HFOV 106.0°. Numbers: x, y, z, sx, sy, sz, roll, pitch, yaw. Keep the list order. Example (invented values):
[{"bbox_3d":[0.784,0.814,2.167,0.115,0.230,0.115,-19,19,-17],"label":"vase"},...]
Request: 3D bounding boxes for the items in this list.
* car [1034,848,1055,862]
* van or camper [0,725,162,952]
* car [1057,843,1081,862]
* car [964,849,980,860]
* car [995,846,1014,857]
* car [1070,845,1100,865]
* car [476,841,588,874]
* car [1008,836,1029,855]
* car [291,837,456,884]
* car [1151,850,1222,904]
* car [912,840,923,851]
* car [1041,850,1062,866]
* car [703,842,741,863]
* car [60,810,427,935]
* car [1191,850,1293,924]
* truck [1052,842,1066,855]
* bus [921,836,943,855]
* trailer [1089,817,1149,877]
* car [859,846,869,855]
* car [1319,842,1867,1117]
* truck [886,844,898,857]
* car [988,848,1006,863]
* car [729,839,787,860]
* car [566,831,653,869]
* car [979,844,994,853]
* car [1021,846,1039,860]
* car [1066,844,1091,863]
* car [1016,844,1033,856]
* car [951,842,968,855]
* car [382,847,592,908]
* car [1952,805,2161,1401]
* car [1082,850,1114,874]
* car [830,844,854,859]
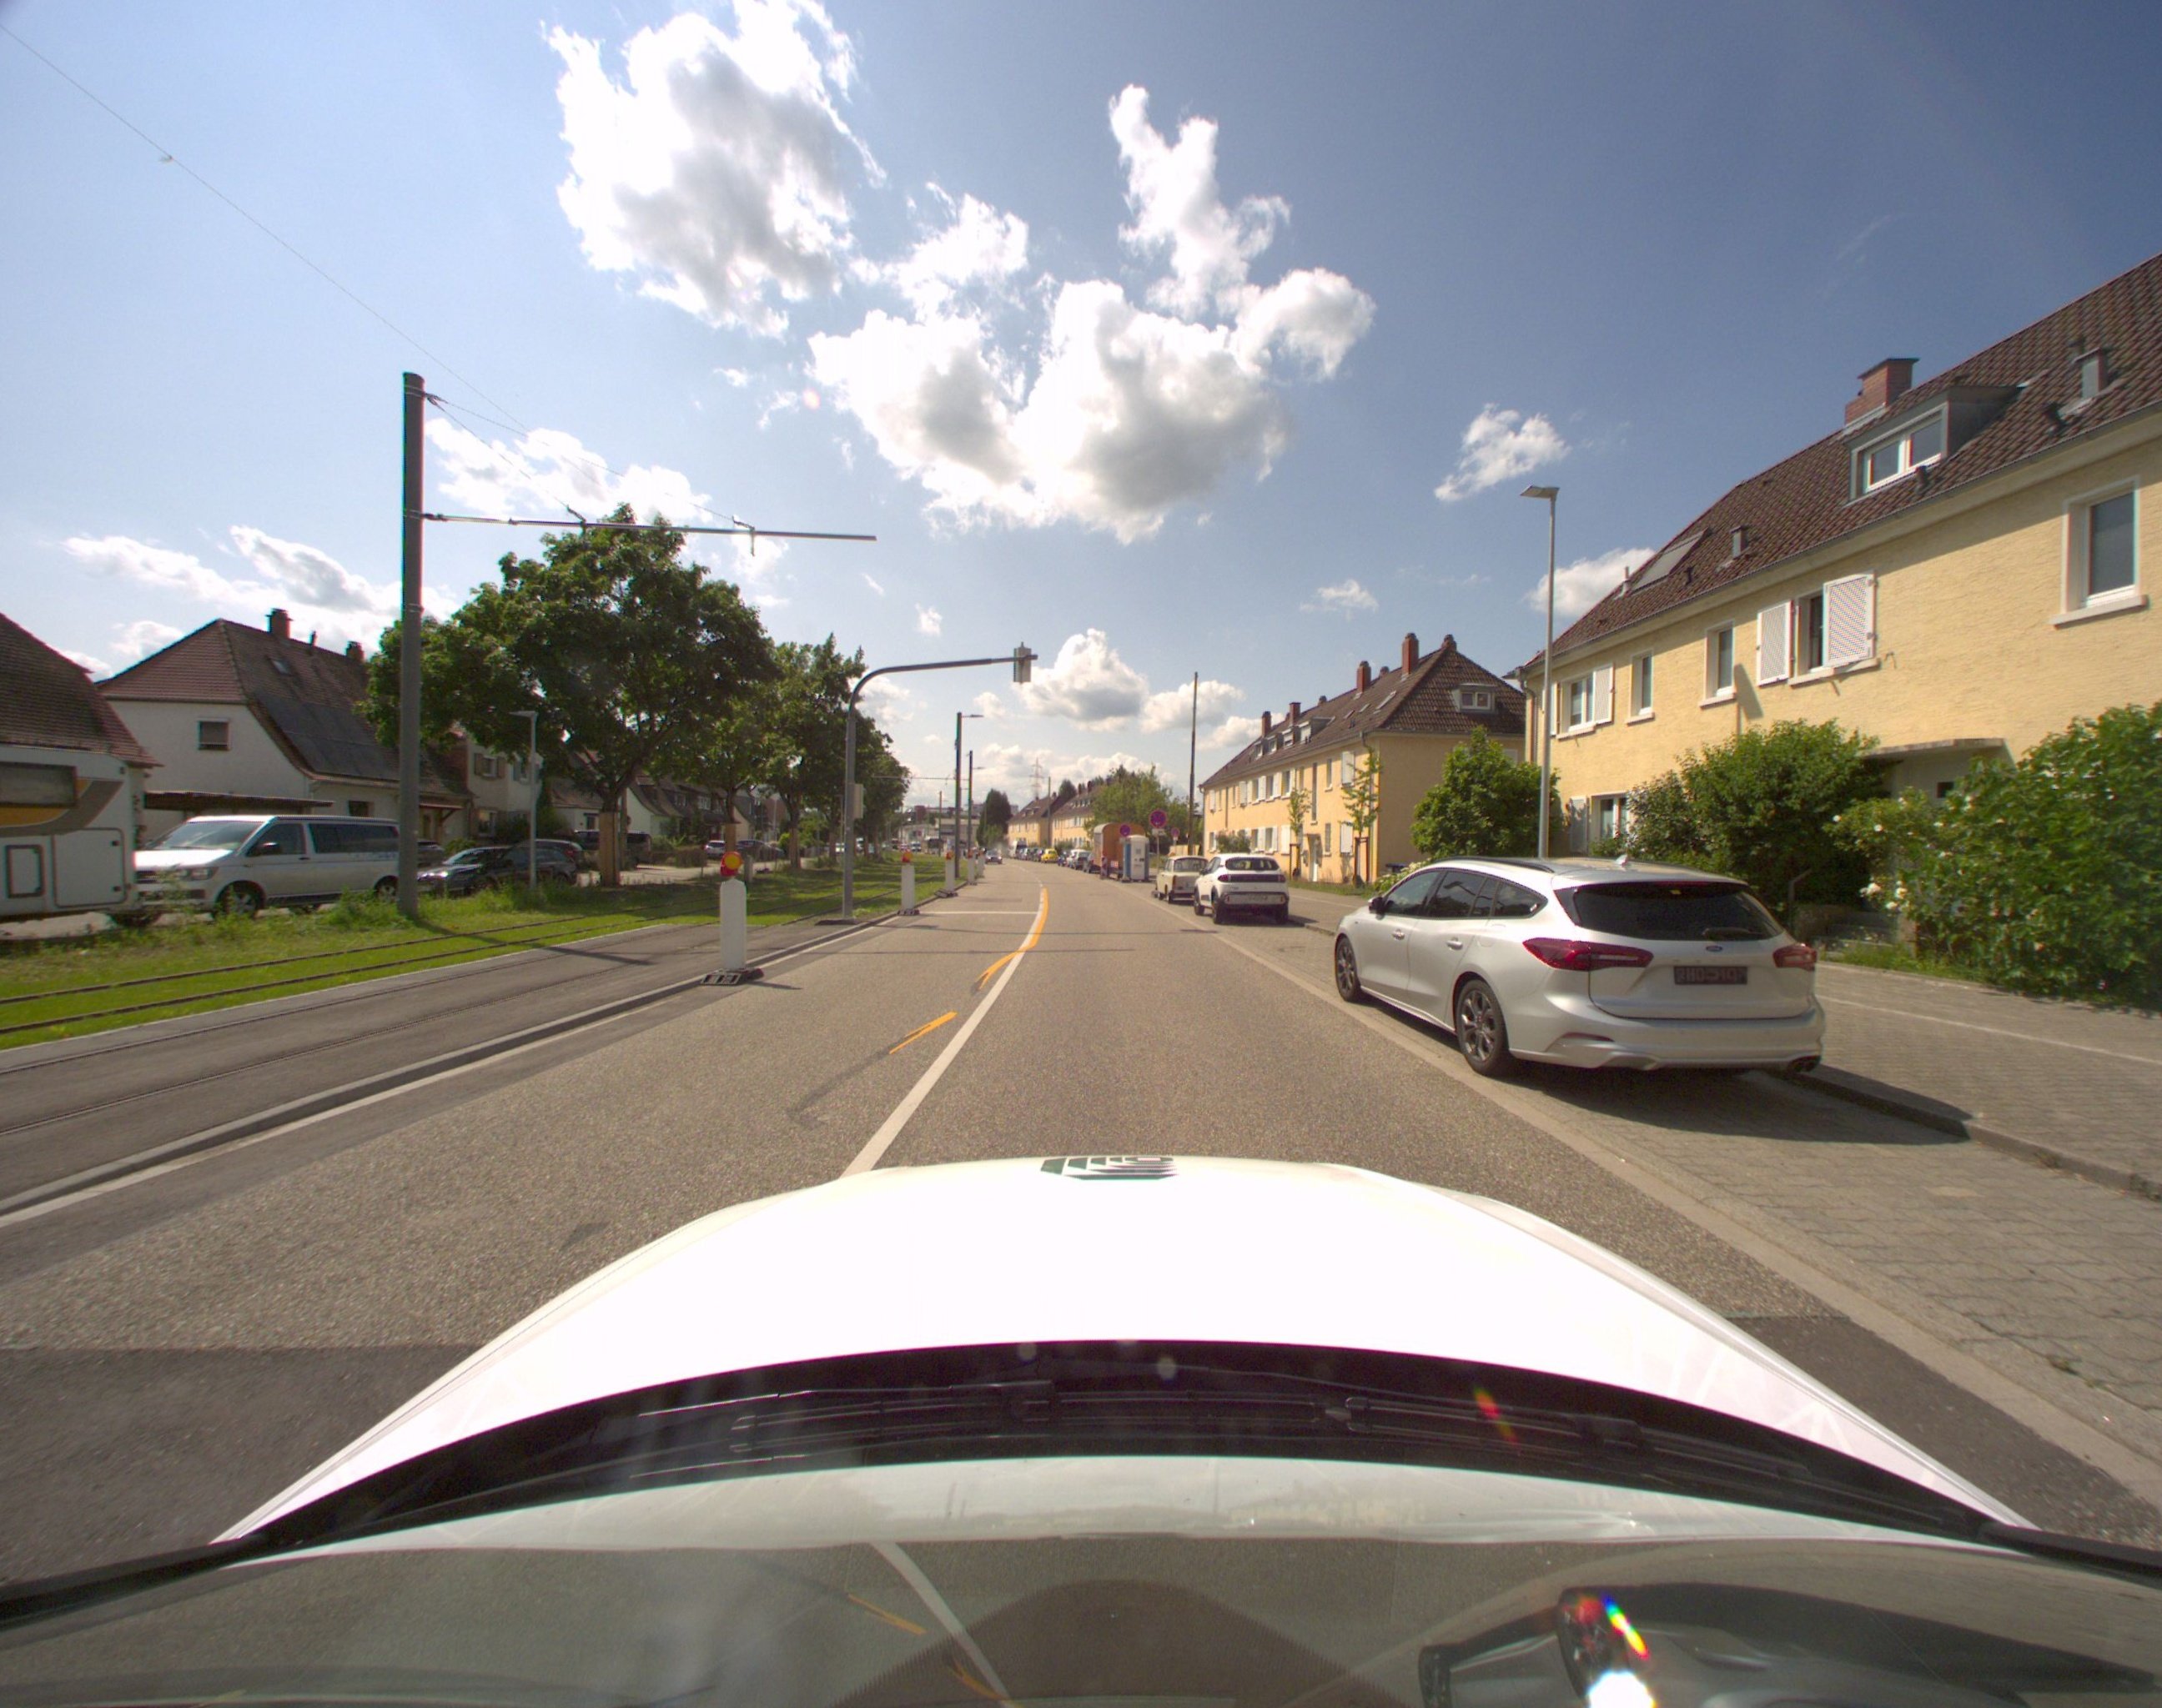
[{"bbox_3d":[-4.082,0.072,90.159,1.638,1.482,4.107,1,1,-13],"label":"car"},{"bbox_3d":[-15.255,-0.193,8.848,2.369,2.970,7.292,0,0,-1],"label":"van or camper"},{"bbox_3d":[-1.109,-0.127,72.837,1.549,1.641,4.232,0,1,-10],"label":"car"},{"bbox_3d":[-14.444,0.059,107.390,1.726,1.389,4.103,0,0,-13],"label":"car"},{"bbox_3d":[-11.422,-0.374,121.840,1.803,1.458,4.736,-2,1,-18],"label":"car"},{"bbox_3d":[0.264,0.060,62.721,1.705,1.449,4.823,1,1,-7],"label":"car"},{"bbox_3d":[-25.258,0.154,37.600,3.879,1.457,1.731,1,1,-7],"label":"car"},{"bbox_3d":[-8.366,-1.102,109.351,1.932,2.480,5.492,0,1,-14],"label":"car"},{"bbox_3d":[-24.985,0.222,28.896,3.983,1.530,1.869,1,0,-7],"label":"car"},{"bbox_3d":[3.169,0.651,25.173,1.460,1.502,4.105,0,0,-3],"label":"car"},{"bbox_3d":[-36.870,-1.982,183.468,2.107,2.443,5.540,1,0,-16],"label":"car"},{"bbox_3d":[-3.127,0.399,84.911,1.637,1.482,3.918,-2,2,-11],"label":"car"},{"bbox_3d":[-27.268,-0.150,61.901,1.729,1.517,4.029,1,1,-11],"label":"car"},{"bbox_3d":[-15.524,0.275,15.631,1.988,2.013,4.902,1,1,-1],"label":"car"},{"bbox_3d":[3.524,0.661,18.458,1.523,1.481,3.808,0,0,-1],"label":"car"},{"bbox_3d":[-2.926,-0.686,108.196,1.348,1.688,2.430,0,0,-13],"label":"truck"},{"bbox_3d":[-28.901,-1.649,157.797,2.643,3.412,12.174,-1,1,-18],"label":"bus"},{"bbox_3d":[2.084,-0.412,46.410,2.687,3.226,5.071,1,1,-6],"label":"trailer"},{"bbox_3d":[-39.574,-0.698,148.541,1.732,1.505,4.543,-1,1,-16],"label":"car"},{"bbox_3d":[3.467,0.685,6.681,1.744,1.497,4.384,0,0,0],"label":"car"},{"bbox_3d":[-55.516,-1.038,239.594,2.569,3.459,7.102,-1,1,-20],"label":"truck"},{"bbox_3d":[-8.741,0.145,84.592,1.665,1.449,3.947,-2,1,-9],"label":"car"},{"bbox_3d":[-28.862,-0.387,72.911,4.474,1.836,2.057,1,0,-13],"label":"car"},{"bbox_3d":[-25.713,-0.205,44.565,3.903,1.897,1.927,2,0,-26],"label":"car"},{"bbox_3d":[-15.767,-0.934,135.424,1.768,1.417,3.977,-1,1,-17],"label":"car"},{"bbox_3d":[-6.273,-0.167,99.514,1.638,1.602,4.012,1,1,-13],"label":"car"},{"bbox_3d":[-0.260,-0.040,67.781,1.576,1.513,4.449,1,1,-7],"label":"car"},{"bbox_3d":[-7.244,-0.477,104.131,1.537,1.445,3.721,1,1,-13],"label":"car"},{"bbox_3d":[-18.673,-0.835,125.098,1.960,1.966,5.264,0,1,-16],"label":"car"},{"bbox_3d":[-15.469,0.534,21.613,1.844,1.387,4.812,1,1,3],"label":"car"},{"bbox_3d":[3.600,0.658,0.732,1.622,1.550,3.810,0,0,1],"label":"car"},{"bbox_3d":[1.105,0.507,54.842,1.576,1.449,4.442,1,1,-7],"label":"car"},{"bbox_3d":[-28.273,-0.291,96.611,1.879,1.768,5.072,0,0,-7],"label":"car"}]
